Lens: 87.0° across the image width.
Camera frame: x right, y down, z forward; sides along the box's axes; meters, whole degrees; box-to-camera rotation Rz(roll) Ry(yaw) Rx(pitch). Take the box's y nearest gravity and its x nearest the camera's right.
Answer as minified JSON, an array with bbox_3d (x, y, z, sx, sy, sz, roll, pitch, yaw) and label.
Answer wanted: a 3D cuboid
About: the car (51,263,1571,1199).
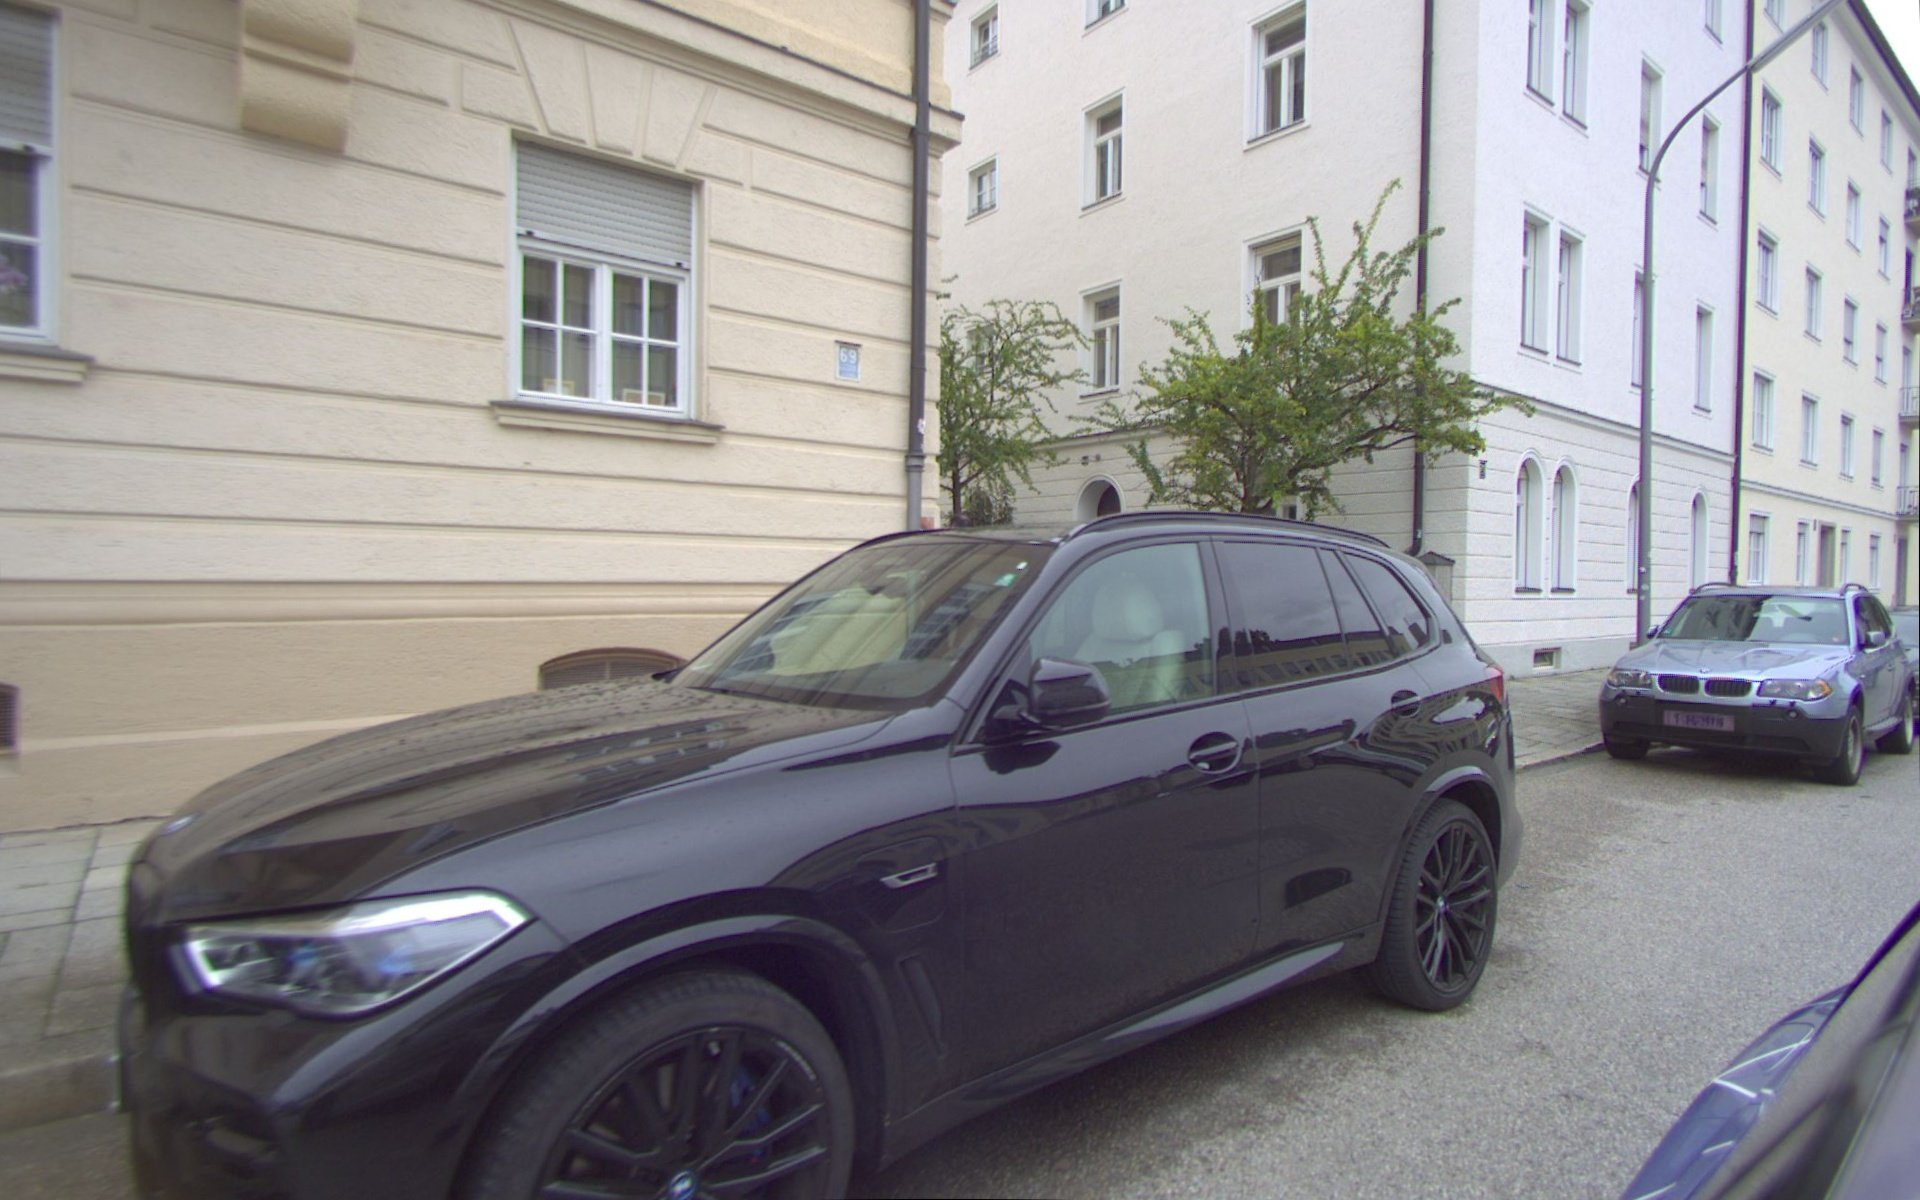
[{"bbox_3d":[0.089,0.479,3.458,4.601,1.752,1.932,1,-1,-38],"label":"car"}]

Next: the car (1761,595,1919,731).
[{"bbox_3d":[11.871,0.693,12.915,3.982,1.460,1.707,-1,0,-38],"label":"car"}]

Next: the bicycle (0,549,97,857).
[{"bbox_3d":[-4.946,0.427,3.768,2.597,1.262,0.703,-1,2,-39],"label":"bicycle"}]

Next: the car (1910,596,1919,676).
[{"bbox_3d":[19.860,0.632,19.393,4.571,1.452,1.840,-1,0,-39],"label":"car"}]

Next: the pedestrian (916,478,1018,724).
[{"bbox_3d":[0.037,-0.002,7.722,0.679,1.783,0.686,-1,0,-7],"label":"pedestrian"}]

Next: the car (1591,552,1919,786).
[{"bbox_3d":[7.857,0.489,9.624,4.310,1.752,1.782,-1,0,-38],"label":"car"}]

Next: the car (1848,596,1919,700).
[{"bbox_3d":[15.522,0.677,15.799,4.449,1.432,1.801,-1,0,-40],"label":"car"}]
